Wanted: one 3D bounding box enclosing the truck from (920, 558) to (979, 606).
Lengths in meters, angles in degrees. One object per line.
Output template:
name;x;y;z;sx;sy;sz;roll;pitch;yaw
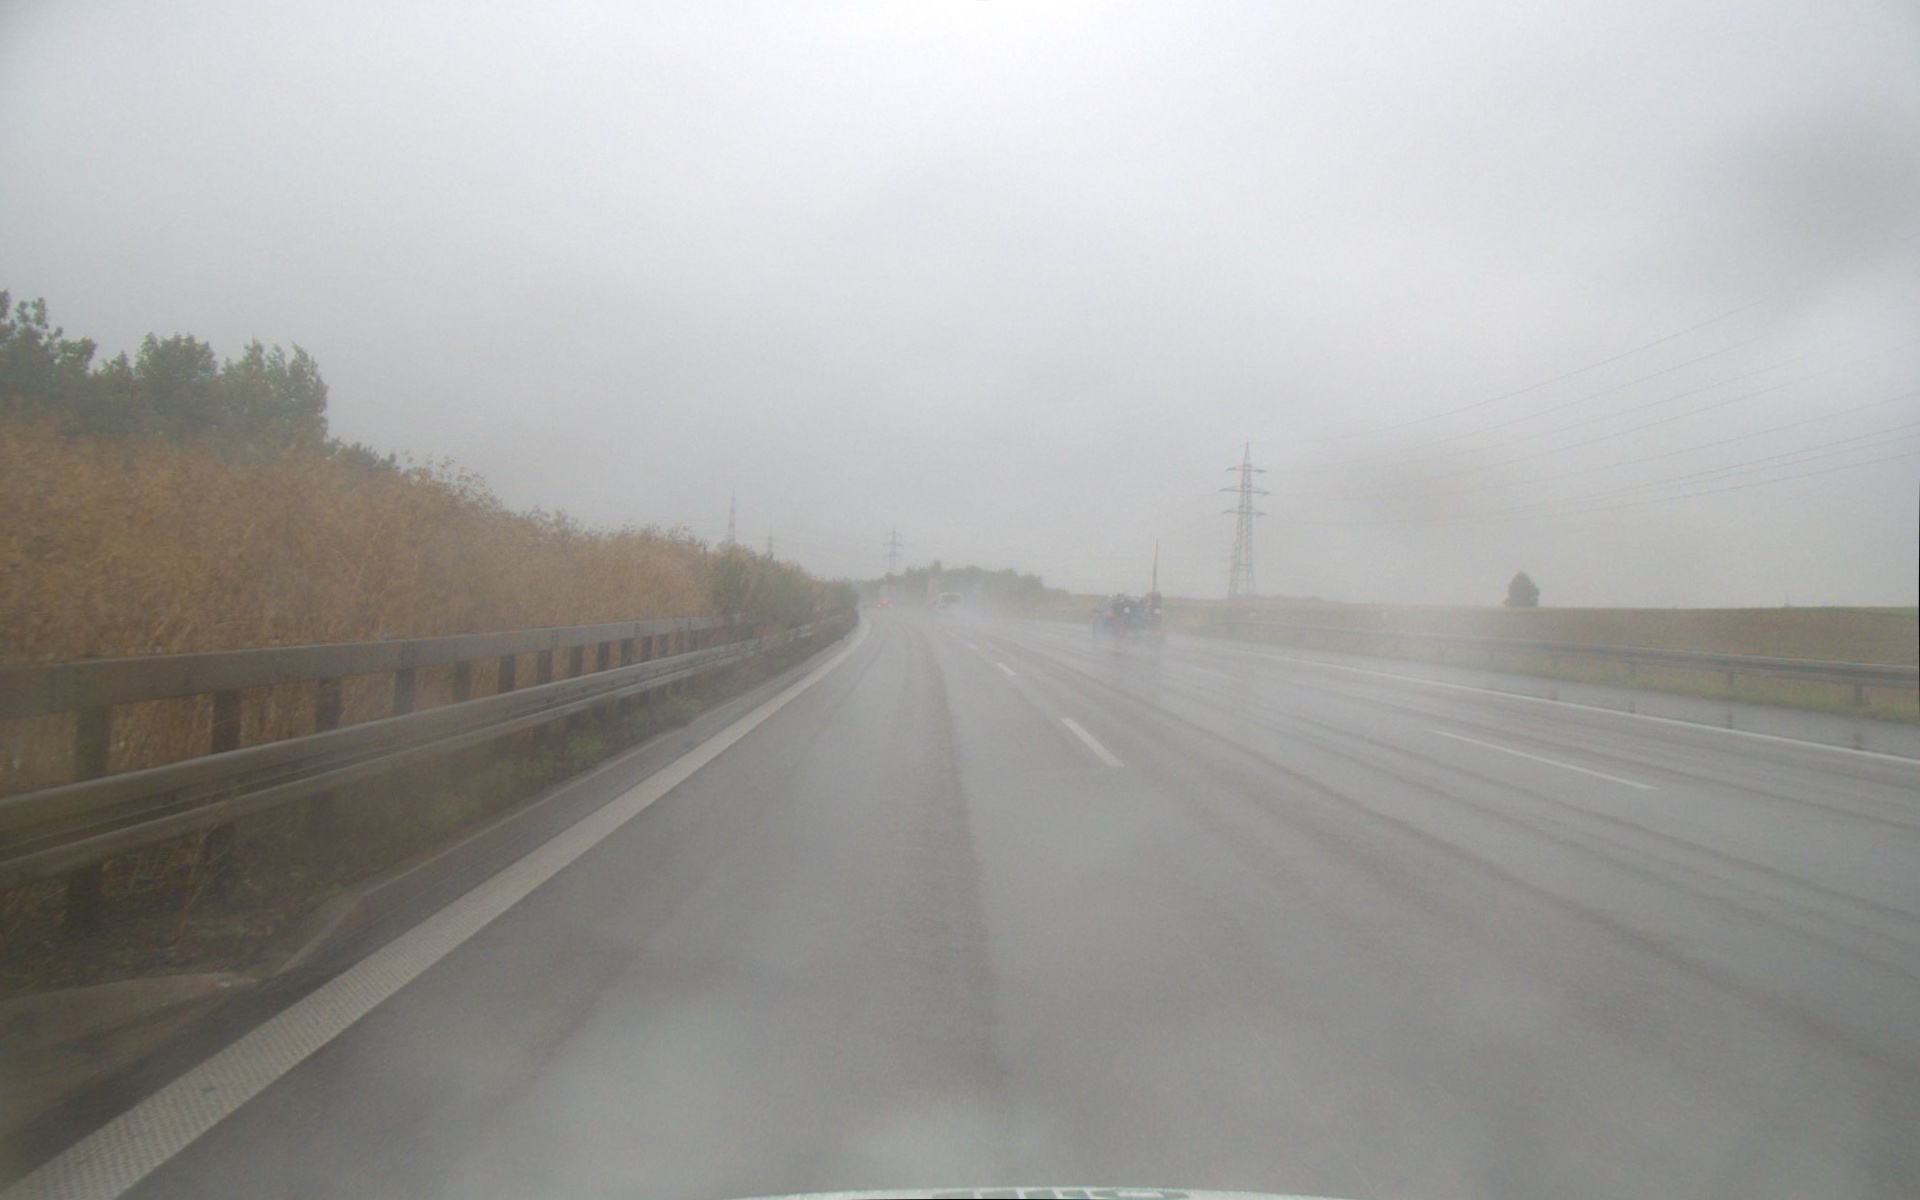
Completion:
truck;-1.305;-1.795;177.502;4.111;4.711;16.073;1;-1;-8

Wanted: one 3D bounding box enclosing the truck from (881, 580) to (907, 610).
truck;-10.042;-0.764;250.987;3.171;4.387;8.822;1;0;-7

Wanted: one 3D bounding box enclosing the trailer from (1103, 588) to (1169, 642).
trailer;6.162;0.541;58.119;1.938;1.816;3.188;1;-1;-1

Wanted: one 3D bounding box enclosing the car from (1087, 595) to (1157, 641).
car;6.048;0.693;62.196;1.953;1.647;4.990;1;-1;-2
